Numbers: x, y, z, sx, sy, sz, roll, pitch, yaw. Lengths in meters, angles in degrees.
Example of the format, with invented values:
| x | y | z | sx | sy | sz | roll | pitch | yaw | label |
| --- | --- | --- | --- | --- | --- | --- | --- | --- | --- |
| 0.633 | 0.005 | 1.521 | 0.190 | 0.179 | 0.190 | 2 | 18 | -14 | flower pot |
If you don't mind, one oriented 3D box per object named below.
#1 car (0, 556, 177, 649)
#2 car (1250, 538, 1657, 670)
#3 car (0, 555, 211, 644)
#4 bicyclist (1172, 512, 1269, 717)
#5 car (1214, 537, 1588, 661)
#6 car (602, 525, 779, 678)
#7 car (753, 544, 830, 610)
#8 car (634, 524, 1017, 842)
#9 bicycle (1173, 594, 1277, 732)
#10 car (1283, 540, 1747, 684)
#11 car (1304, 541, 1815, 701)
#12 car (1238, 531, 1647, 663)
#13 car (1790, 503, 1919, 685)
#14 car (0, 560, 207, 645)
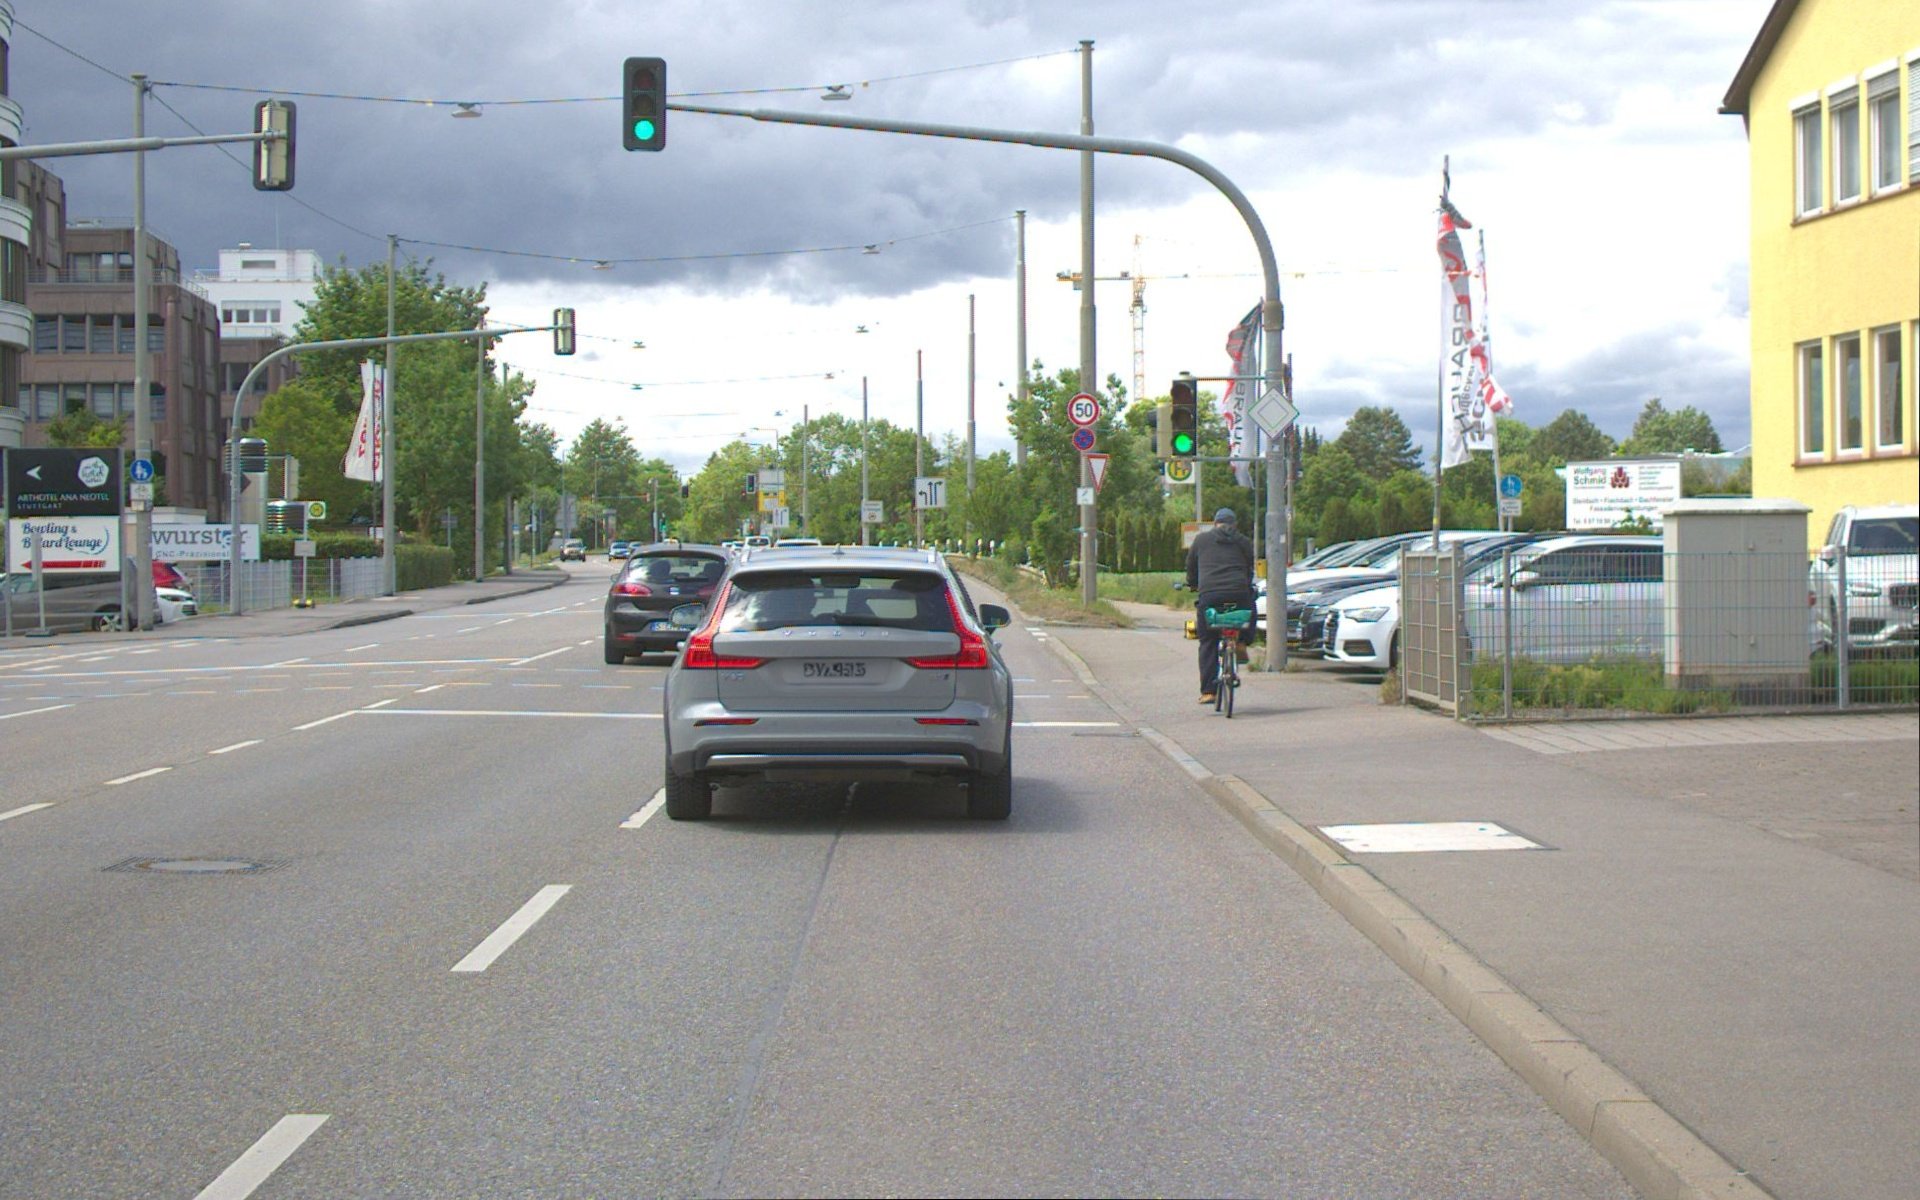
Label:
| x | y | z | sx | sy | sz | roll | pitch | yaw | label |
| --- | --- | --- | --- | --- | --- | --- | --- | --- | --- |
| -17.039 | 0.083 | 65.030 | 4.092 | 1.393 | 1.909 | -6 | 2 | -8 | car |
| 5.708 | 0.026 | 40.139 | 4.368 | 1.399 | 1.989 | 1 | 1 | -2 | car |
| -17.601 | -0.002 | 70.158 | 4.222 | 1.382 | 1.984 | -6 | 0 | -6 | car |
| 2.190 | 0.115 | 29.018 | 0.638 | 1.670 | 0.890 | -4 | 1 | -1 | bicyclist |
| 5.800 | -0.030 | 45.669 | 4.676 | 1.488 | 2.015 | 2 | 1 | 0 | car |
| -3.239 | 0.012 | 41.806 | 1.993 | 1.711 | 4.000 | 2 | 0 | -3 | car |
| -4.560 | -0.607 | 93.493 | 1.993 | 1.689 | 4.000 | 2 | 0 | -2 | car |
| -0.669 | 0.422 | 19.393 | 1.895 | 1.549 | 4.000 | 2 | 0 | 0 | car |
| 2.217 | 0.512 | 28.941 | 0.638 | 1.059 | 1.977 | -4 | 1 | -1 | bicycle |
| 5.944 | 0.111 | 37.235 | 4.659 | 1.488 | 2.035 | 0 | 1 | -1 | car |
| 5.923 | 0.187 | 34.358 | 4.696 | 1.488 | 2.046 | 1 | 1 | -1 | car |
| 5.974 | -0.046 | 42.987 | 4.800 | 1.475 | 2.032 | 2 | 1 | 1 | car |
| 10.147 | -0.060 | 36.912 | 1.977 | 1.815 | 5.028 | -1 | 0 | 9 | car |
| -18.150 | 0.057 | 72.691 | 3.987 | 1.365 | 1.848 | -6 | 0 | -3 | car |
